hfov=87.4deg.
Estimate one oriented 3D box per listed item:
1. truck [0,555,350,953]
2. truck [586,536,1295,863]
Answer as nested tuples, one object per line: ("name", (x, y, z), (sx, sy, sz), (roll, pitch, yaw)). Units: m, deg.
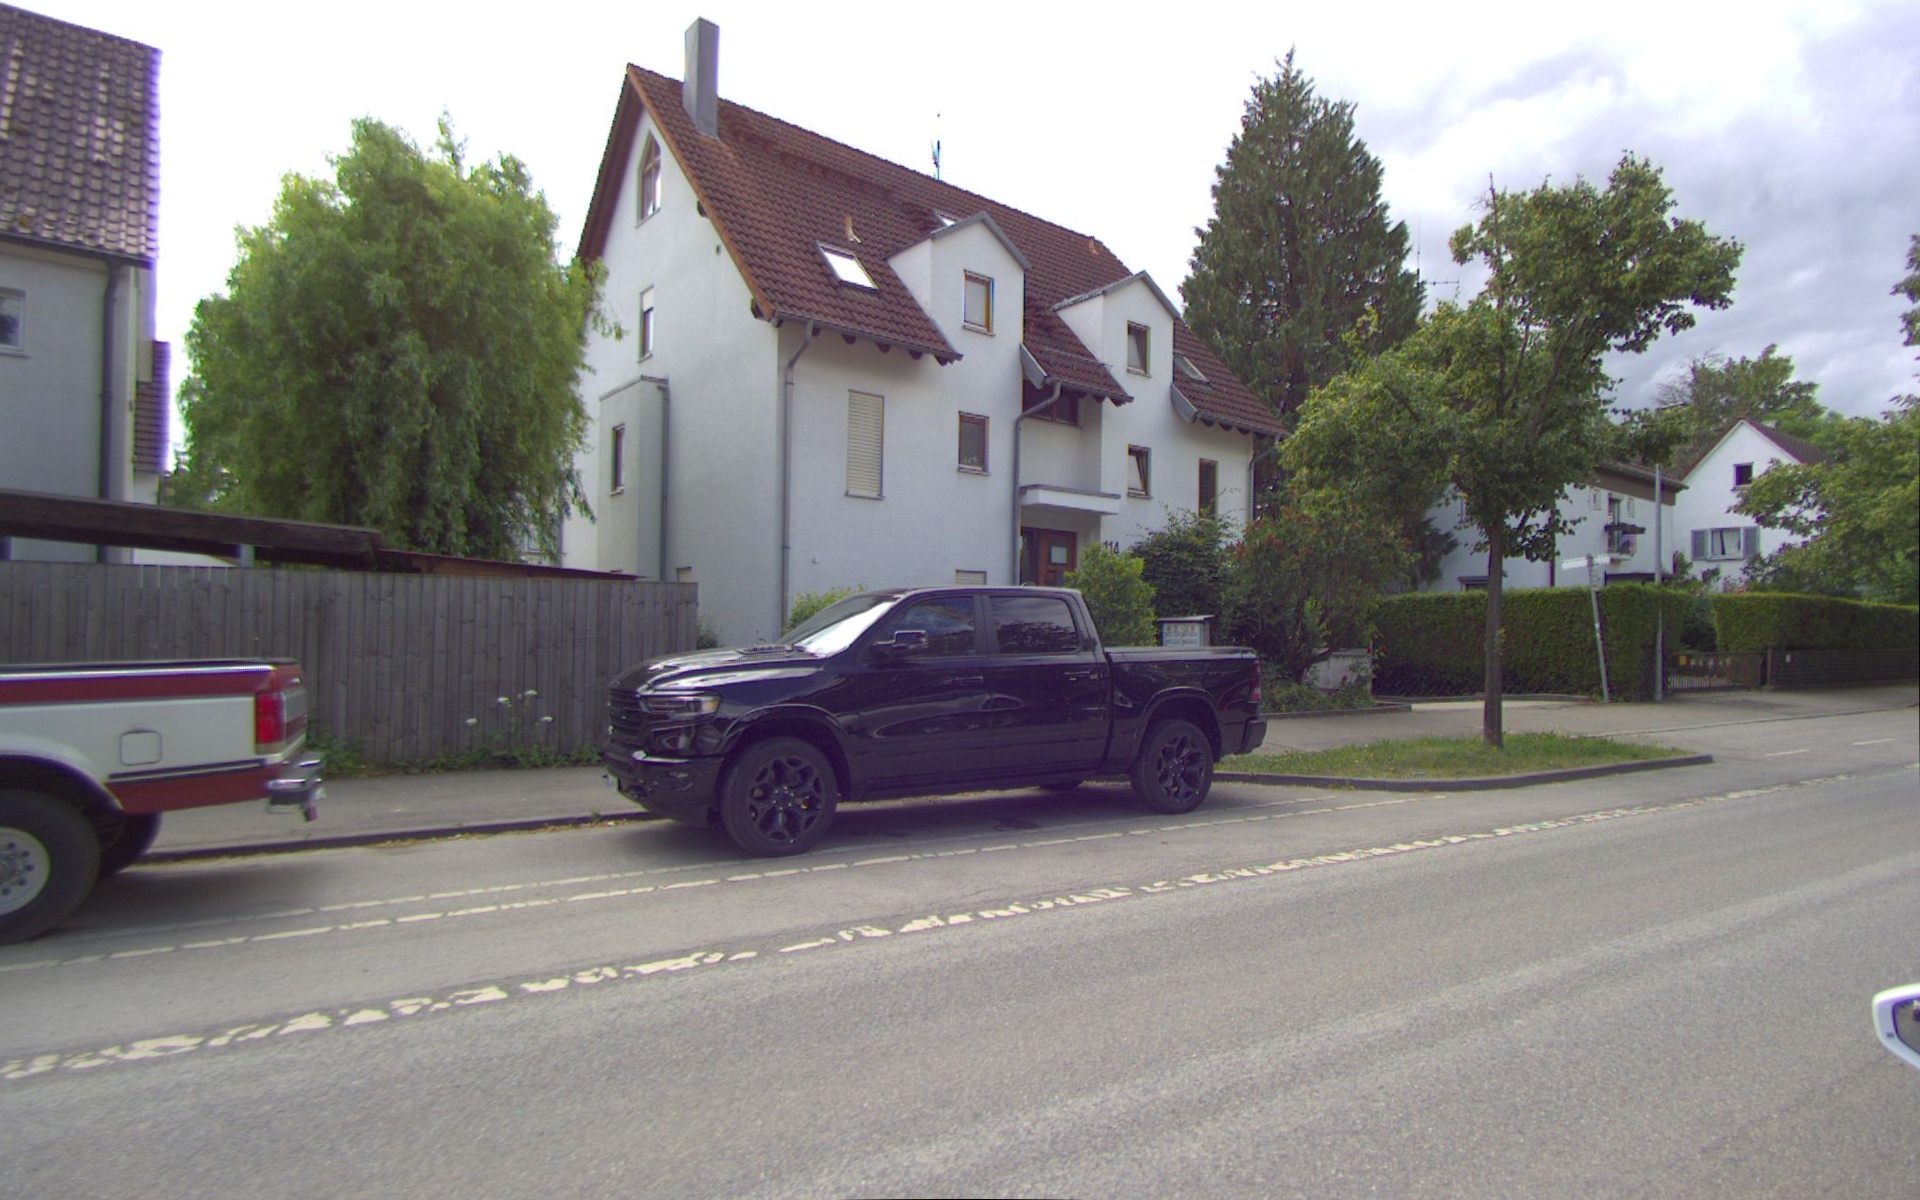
("truck", (-6.325, 0.749, 4.917), (5.597, 1.892, 1.958), (1, -4, -30))
("truck", (0.005, 0.715, 8.949), (5.926, 2.070, 2.411), (1, -2, -31))
